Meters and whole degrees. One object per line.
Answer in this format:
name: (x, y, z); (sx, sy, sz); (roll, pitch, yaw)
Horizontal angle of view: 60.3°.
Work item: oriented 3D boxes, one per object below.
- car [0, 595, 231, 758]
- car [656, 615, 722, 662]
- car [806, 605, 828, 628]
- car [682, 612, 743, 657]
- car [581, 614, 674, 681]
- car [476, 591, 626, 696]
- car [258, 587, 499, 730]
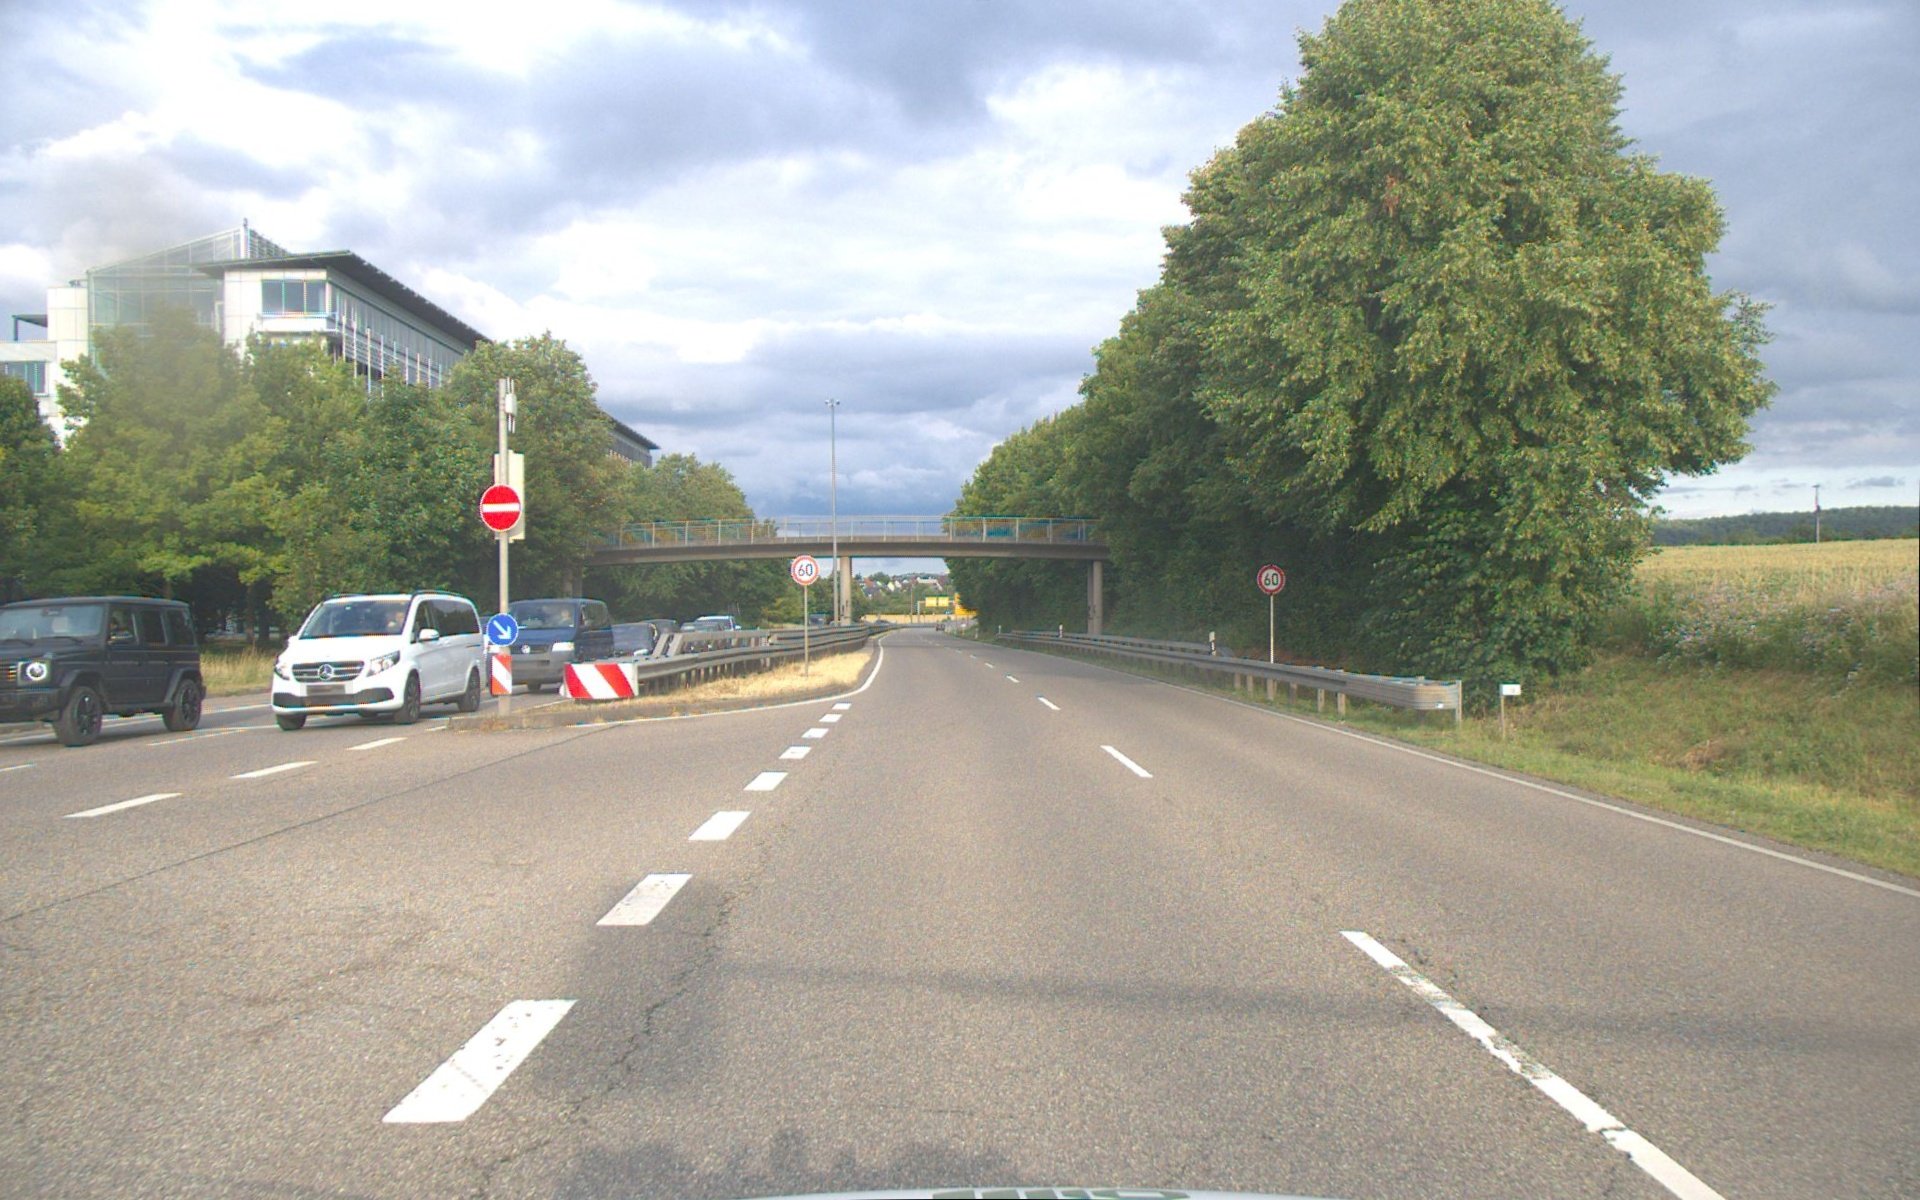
car: (-12.323, 1.006, 23.300); (1.895, 2.025, 5.089); (-2, -1, -1)
car: (-9.095, 1.274, 55.759); (1.684, 1.493, 3.732); (-2, -1, -2)
car: (-16.375, 1.896, 189.934); (2.204, 2.581, 6.937); (0, -1, -2)
car: (-9.483, 1.290, 63.649); (1.786, 1.612, 4.788); (-1, 0, -2)
car: (-8.740, 1.218, 43.802); (1.678, 1.617, 4.552); (-2, -1, -2)
car: (-8.577, 0.882, 35.137); (1.860, 1.950, 5.049); (-4, -1, 0)
car: (-8.716, 0.825, 25.353); (1.895, 1.905, 5.345); (-2, -1, -2)
